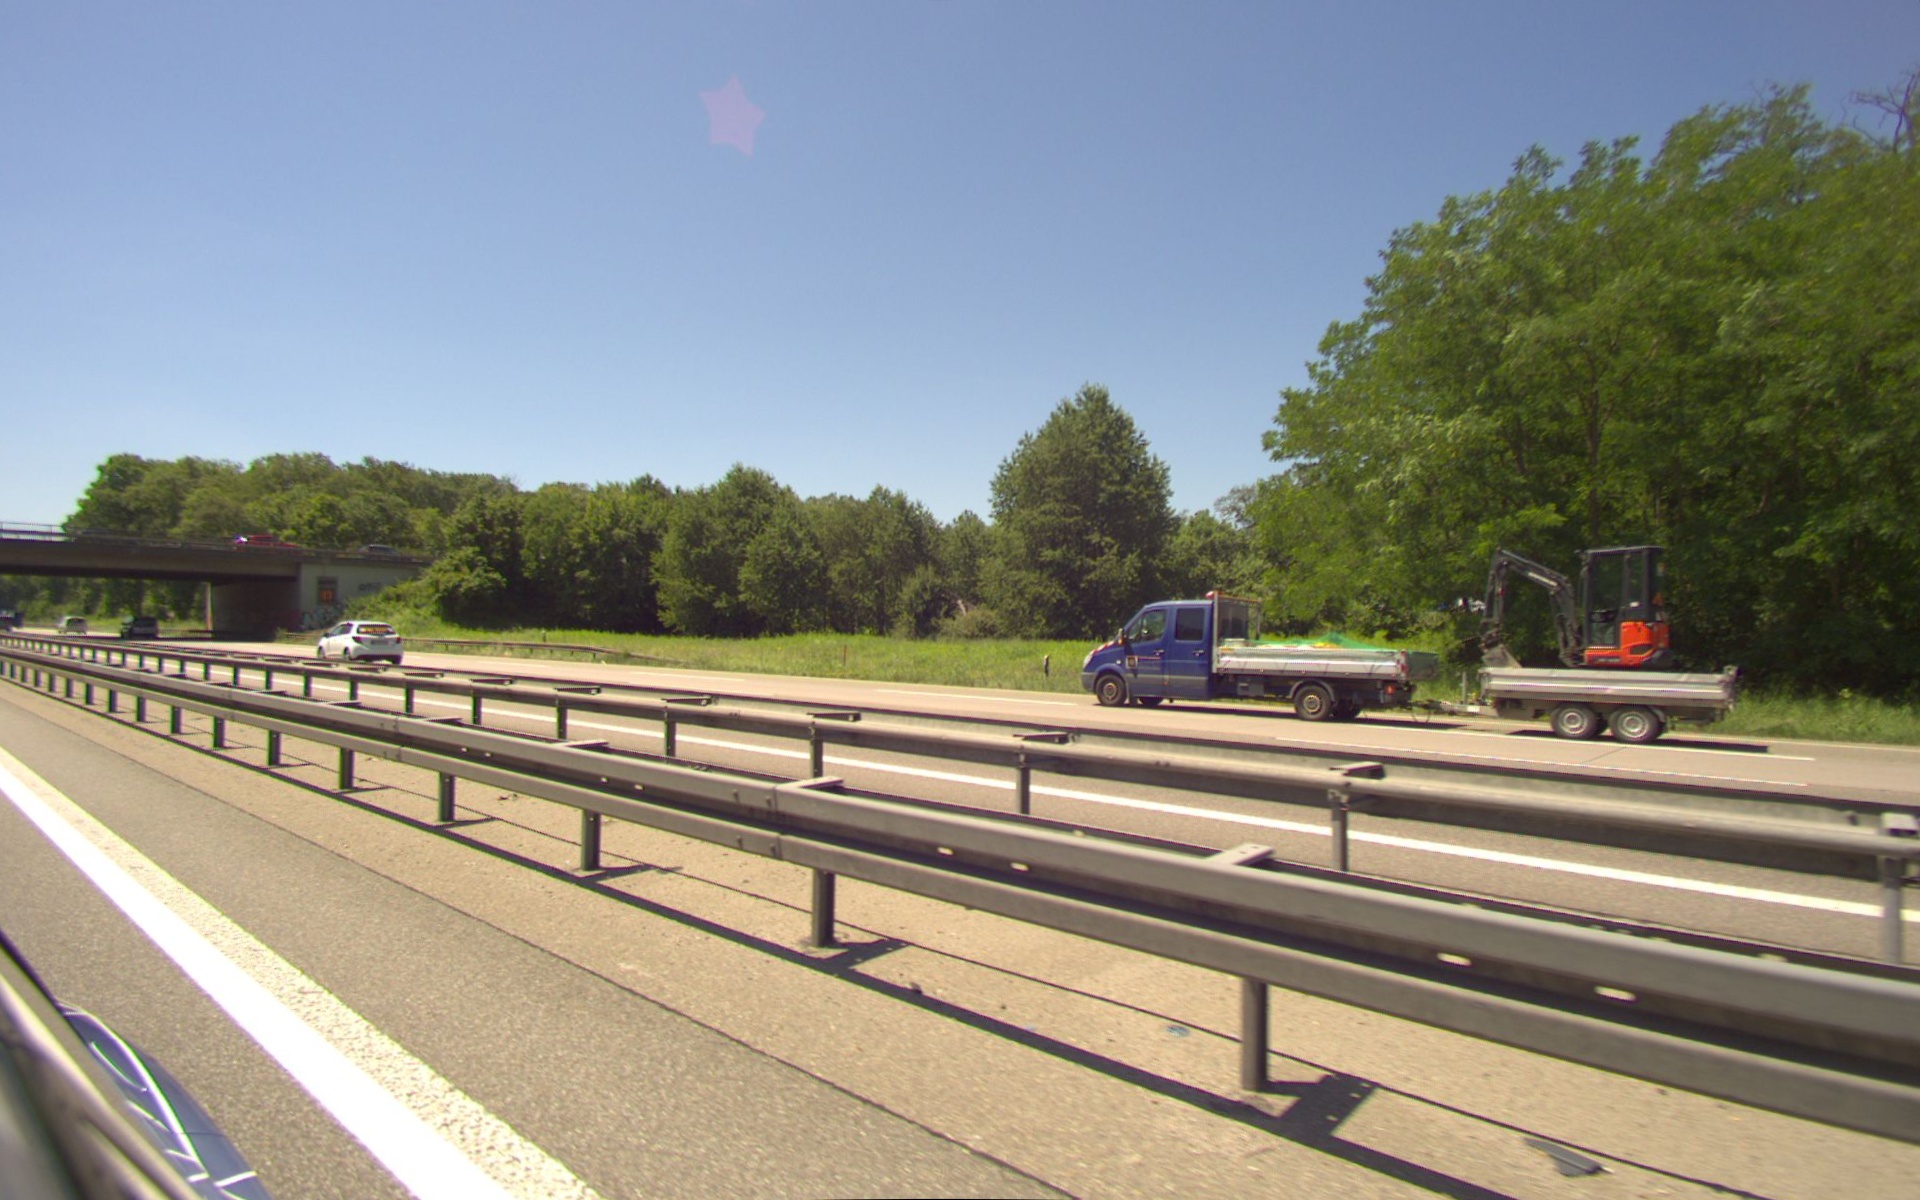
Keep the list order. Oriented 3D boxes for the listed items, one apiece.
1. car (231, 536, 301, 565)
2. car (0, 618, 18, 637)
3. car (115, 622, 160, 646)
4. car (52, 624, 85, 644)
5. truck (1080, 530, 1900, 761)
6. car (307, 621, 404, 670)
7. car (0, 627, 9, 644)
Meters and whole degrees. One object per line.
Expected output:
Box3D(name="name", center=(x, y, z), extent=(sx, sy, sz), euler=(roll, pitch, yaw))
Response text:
Box3D(name="car", center=(-54.237, -3.845, 79.125), extent=(1.997, 2.029, 4.106), euler=(-1, 0, 38))
Box3D(name="car", center=(-126.990, 3.653, 134.385), extent=(5.729, 2.417, 2.068), euler=(-1, 0, 40))
Box3D(name="car", center=(-64.211, 2.620, 78.965), extent=(5.081, 1.776, 1.723), euler=(-1, -3, 39))
Box3D(name="car", center=(-84.351, 3.225, 95.724), extent=(4.932, 1.819, 1.722), euler=(-1, -3, 41))
Box3D(name="truck", center=(8.296, 0.700, 18.485), extent=(12.849, 3.013, 2.724), euler=(-1, -2, 41))
Box3D(name="car", center=(-20.885, 1.527, 34.895), extent=(4.202, 1.556, 1.671), euler=(-1, 0, 41))
Box3D(name="car", center=(-97.280, 3.538, 101.888), extent=(4.637, 1.732, 1.722), euler=(-1, -3, 41))
